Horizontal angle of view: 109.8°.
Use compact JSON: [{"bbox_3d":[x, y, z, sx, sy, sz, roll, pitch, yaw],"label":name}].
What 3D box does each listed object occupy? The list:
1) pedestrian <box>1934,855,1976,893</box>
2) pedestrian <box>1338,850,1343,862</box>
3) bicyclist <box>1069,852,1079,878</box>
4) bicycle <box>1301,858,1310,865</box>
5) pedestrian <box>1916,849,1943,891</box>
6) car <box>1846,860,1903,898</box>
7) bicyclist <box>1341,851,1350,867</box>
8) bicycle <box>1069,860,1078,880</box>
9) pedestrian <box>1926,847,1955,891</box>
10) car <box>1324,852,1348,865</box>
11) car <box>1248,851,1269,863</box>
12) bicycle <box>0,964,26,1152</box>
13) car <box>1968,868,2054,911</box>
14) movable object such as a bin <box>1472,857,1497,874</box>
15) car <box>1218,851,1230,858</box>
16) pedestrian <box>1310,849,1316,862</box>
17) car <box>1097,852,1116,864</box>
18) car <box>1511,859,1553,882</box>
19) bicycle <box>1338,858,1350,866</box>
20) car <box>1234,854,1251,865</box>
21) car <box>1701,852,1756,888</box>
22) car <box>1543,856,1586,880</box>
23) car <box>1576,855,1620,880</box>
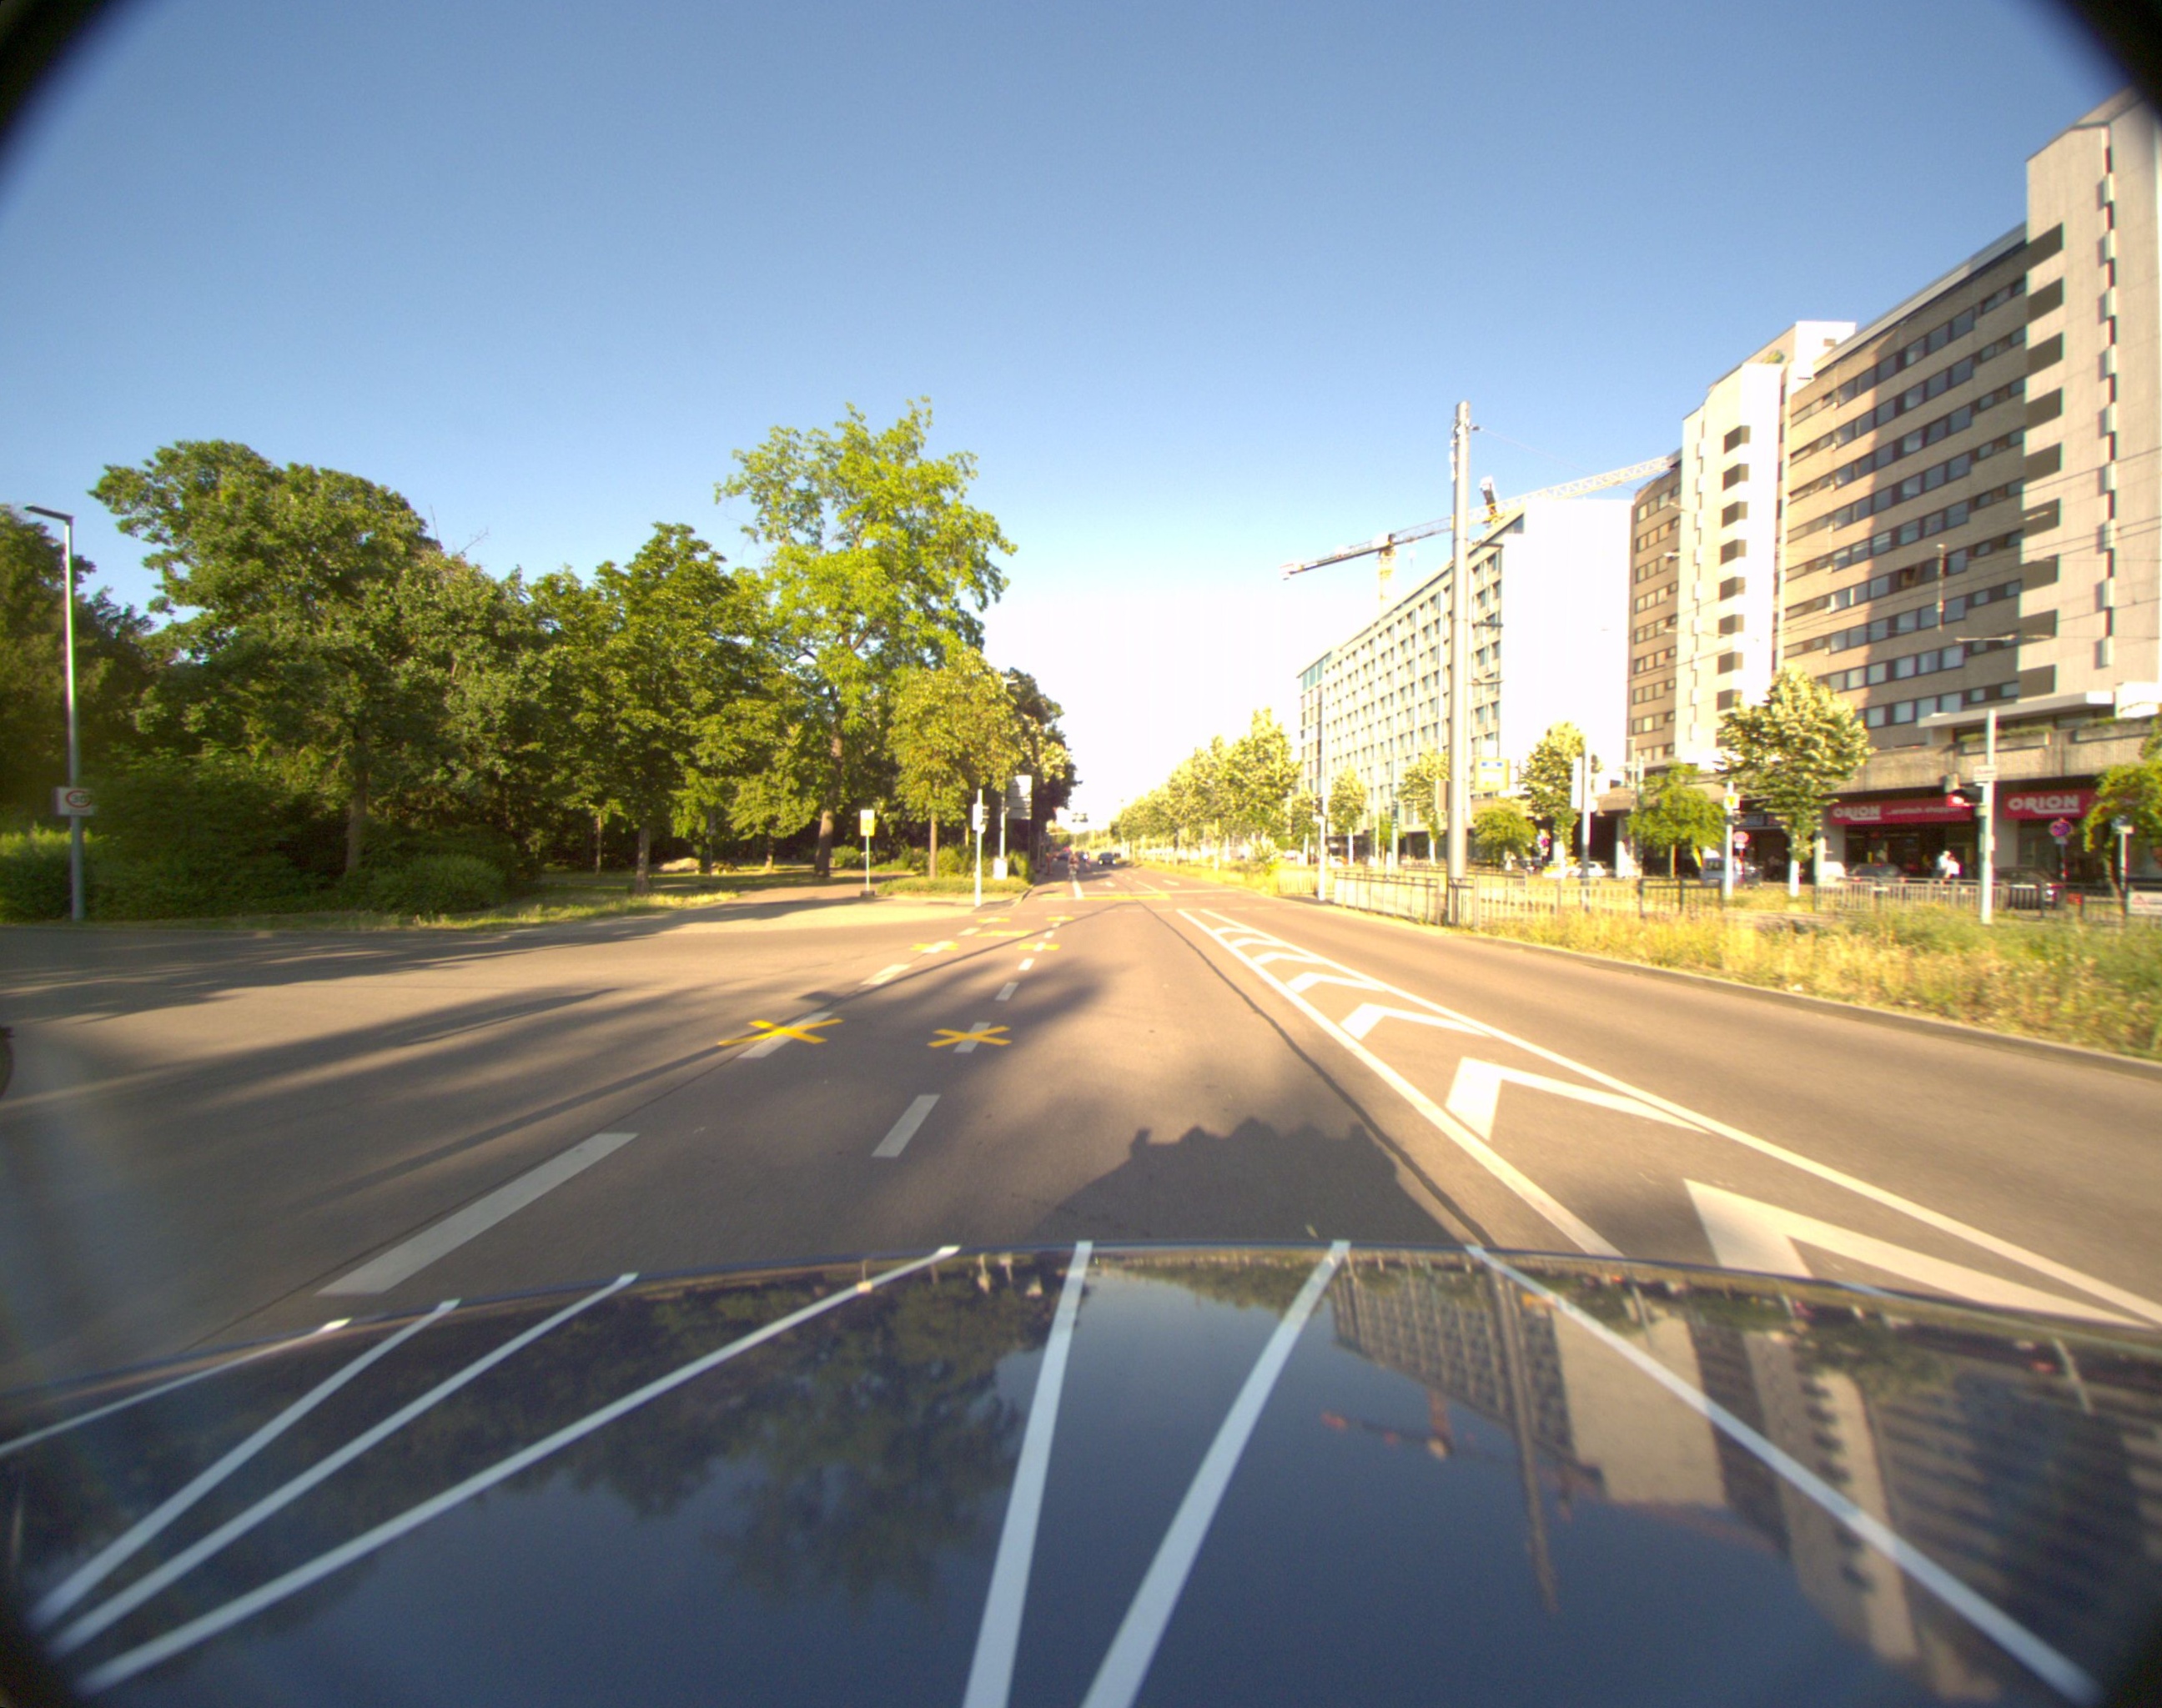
[{"bbox_3d":[38.635,0.872,33.605,0.776,1.630,0.882,0,1,-2],"label":"pedestrian"},{"bbox_3d":[34.526,0.304,101.205,0.479,1.626,0.597,1,1,-1],"label":"pedestrian"},{"bbox_3d":[-0.393,0.573,41.444,0.516,1.399,0.805,0,1,-2],"label":"bicyclist"},{"bbox_3d":[29.403,0.956,99.709,0.437,0.858,2.102,1,1,-3],"label":"bicycle"},{"bbox_3d":[40.759,0.781,36.499,0.549,2.002,0.654,0,1,-1],"label":"pedestrian"},{"bbox_3d":[33.880,1.027,32.493,3.473,1.394,1.616,-3,2,-45],"label":"car"},{"bbox_3d":[29.495,0.591,84.679,0.559,1.735,0.919,1,1,-3],"label":"bicyclist"},{"bbox_3d":[-0.403,0.874,41.473,0.506,1.018,1.505,0,1,-1],"label":"bicycle"},{"bbox_3d":[39.777,0.692,35.156,0.549,2.002,0.654,0,1,-1],"label":"pedestrian"},{"bbox_3d":[31.701,0.507,94.550,1.874,1.458,3.388,-1,1,-1],"label":"car"},{"bbox_3d":[26.288,0.444,112.509,1.874,1.579,4.637,-1,1,-1],"label":"car"},{"bbox_3d":[-6.327,1.170,3.440,0.429,1.055,1.911,0,1,0],"label":"bicycle"},{"bbox_3d":[32.924,1.210,26.983,3.473,1.266,1.616,-3,2,-45],"label":"car"},{"bbox_3d":[32.287,0.932,60.833,1.390,1.363,1.171,1,1,-2],"label":"movable object such as a bin"},{"bbox_3d":[28.469,0.131,151.621,1.613,1.370,3.878,-1,1,-1],"label":"car"},{"bbox_3d":[33.991,0.206,111.387,0.622,2.002,0.726,1,1,-1],"label":"pedestrian"},{"bbox_3d":[2.870,0.408,86.826,1.998,1.346,4.000,0,1,1],"label":"car"},{"bbox_3d":[33.050,1.183,55.611,1.616,1.436,4.556,0,2,44],"label":"car"},{"bbox_3d":[29.410,0.860,84.934,0.437,0.858,2.102,1,1,-3],"label":"bicycle"},{"bbox_3d":[26.721,0.836,125.716,1.874,1.692,4.487,-1,1,-1],"label":"car"},{"bbox_3d":[33.412,0.785,39.169,4.204,1.681,1.616,-2,2,-42],"label":"car"},{"bbox_3d":[33.096,0.919,51.959,1.784,1.436,3.809,0,2,44],"label":"car"},{"bbox_3d":[33.427,0.877,49.130,3.800,1.436,1.616,-3,2,-44],"label":"car"}]
